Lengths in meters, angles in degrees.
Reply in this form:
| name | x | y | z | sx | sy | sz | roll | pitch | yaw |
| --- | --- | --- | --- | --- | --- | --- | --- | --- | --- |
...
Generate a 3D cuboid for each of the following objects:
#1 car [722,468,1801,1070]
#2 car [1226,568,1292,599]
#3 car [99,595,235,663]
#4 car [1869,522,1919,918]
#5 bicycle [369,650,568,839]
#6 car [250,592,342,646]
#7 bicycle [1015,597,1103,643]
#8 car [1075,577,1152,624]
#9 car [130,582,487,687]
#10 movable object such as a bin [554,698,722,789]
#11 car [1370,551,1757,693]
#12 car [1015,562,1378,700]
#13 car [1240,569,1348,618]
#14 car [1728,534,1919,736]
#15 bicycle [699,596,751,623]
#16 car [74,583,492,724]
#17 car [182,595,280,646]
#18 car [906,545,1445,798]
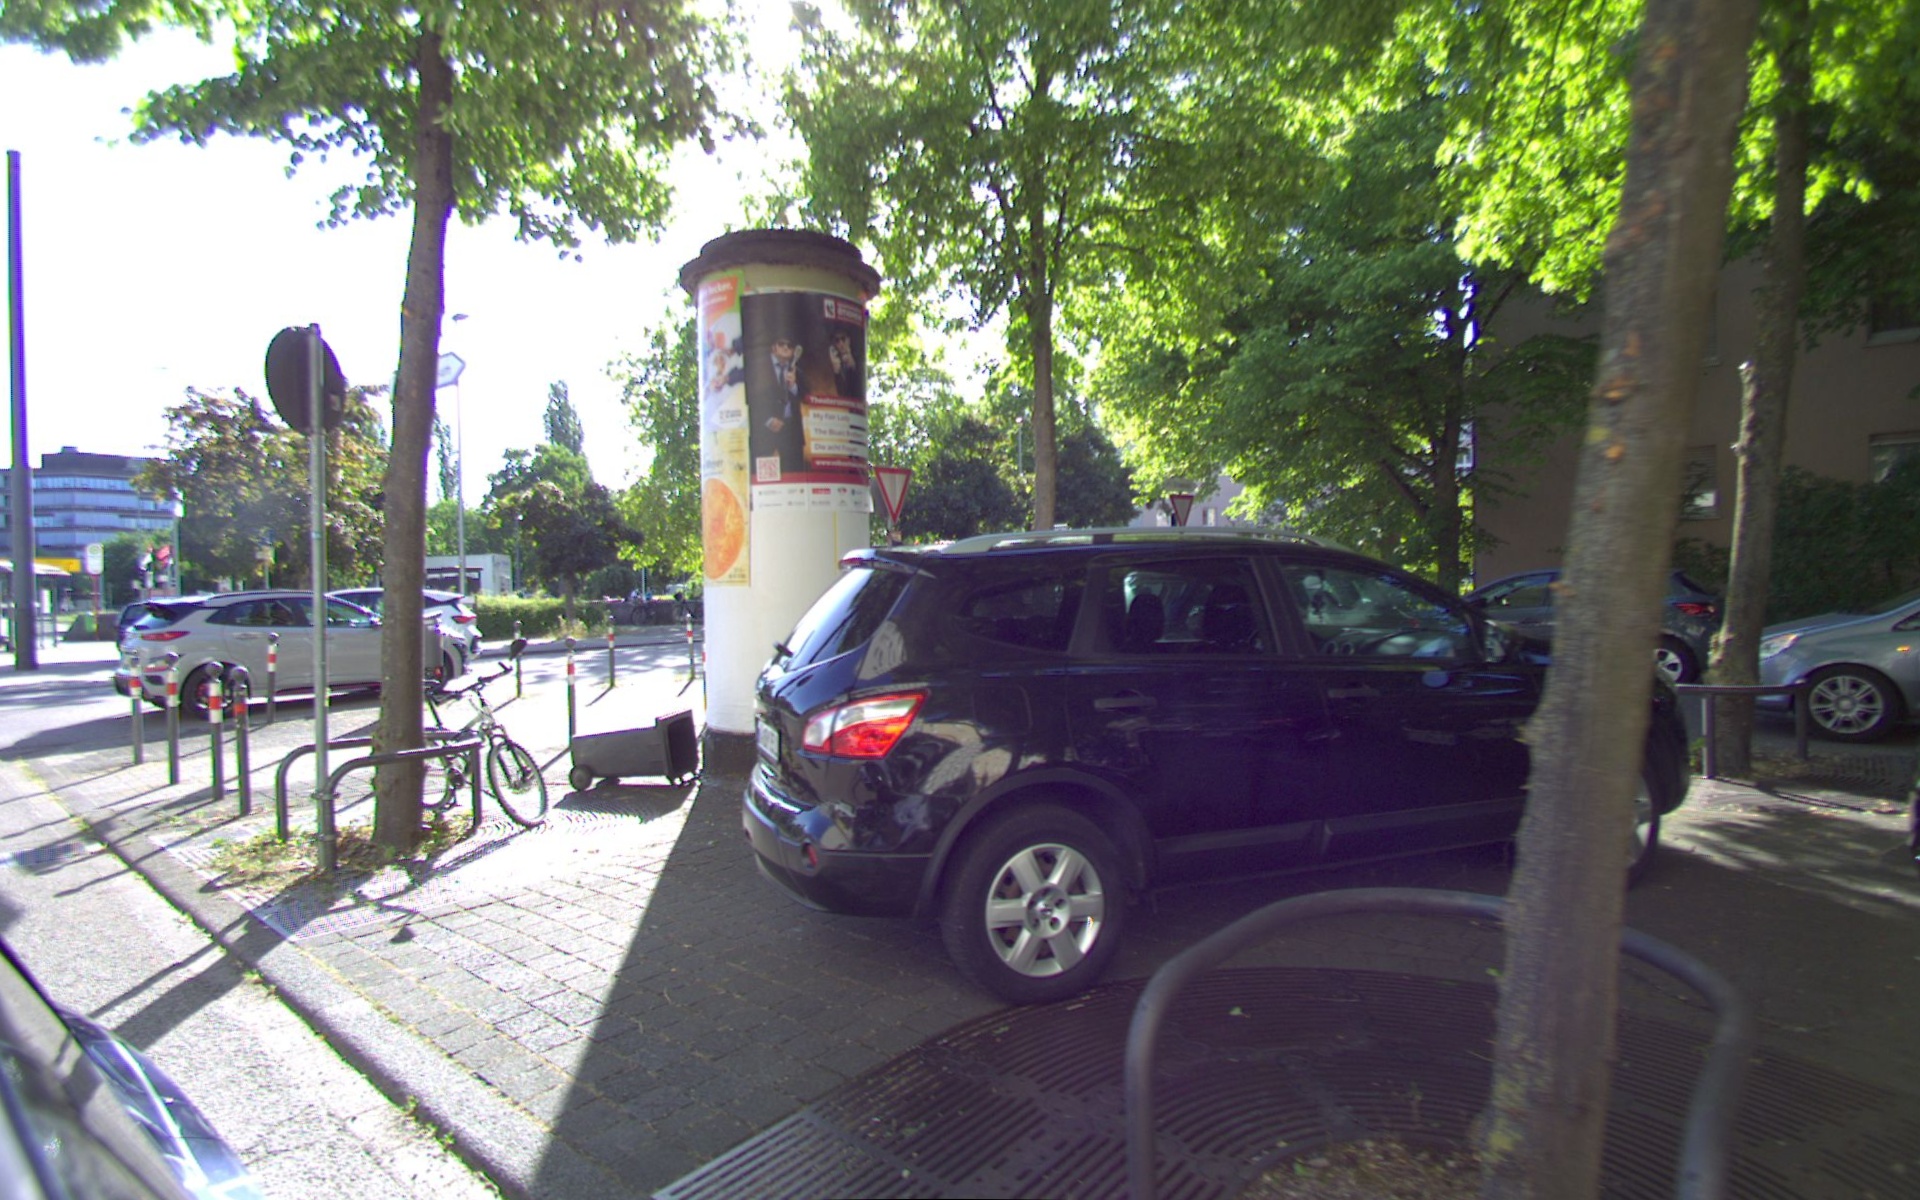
| name | x | y | z | sx | sy | sz | roll | pitch | yaw |
| --- | --- | --- | --- | --- | --- | --- | --- | --- | --- |
| car | 1.251 | 0.409 | 4.528 | 4.263 | 1.683 | 1.843 | -4 | 2 | -18 |
| car | 18.737 | -1.006 | 63.571 | 2.034 | 1.811 | 4.438 | -1 | 1 | -13 |
| car | -20.348 | 0.685 | 26.144 | 1.655 | 1.519 | 3.608 | -4 | 2 | -20 |
| car | 5.550 | 0.374 | 3.739 | 3.881 | 1.432 | 1.828 | -2 | 1 | -24 |
| bicycle | -3.224 | 0.888 | 6.587 | 1.587 | 1.080 | 0.350 | -1 | 1 | 32 |
| car | -21.650 | 0.574 | 33.153 | 1.769 | 1.591 | 4.013 | -1 | 1 | -22 |
| bicycle | 2.324 | 0.486 | 23.890 | 2.028 | 1.039 | 0.564 | -2 | 0 | 34 |
| car | 5.536 | -0.007 | 36.275 | 1.615 | 1.573 | 3.224 | -1 | 1 | 31 |
| car | -11.095 | 0.521 | 17.730 | 4.950 | 1.530 | 1.930 | -2 | 1 | -21 |
| movable object such as a bin | -2.460 | 1.076 | 7.739 | 1.106 | 0.569 | 0.573 | -1 | 1 | 22 |
| car | 7.511 | 0.222 | 12.802 | 3.948 | 1.522 | 1.735 | -1 | 1 | 42 |
| car | 2.999 | 0.338 | 13.405 | 4.300 | 1.530 | 1.882 | -1 | 1 | 42 |
| car | 10.795 | -0.210 | 32.904 | 3.229 | 1.492 | 1.612 | -1 | 1 | 17 |
| car | 8.330 | 0.221 | 7.635 | 3.940 | 1.497 | 1.739 | -1 | 1 | 35 |
| bicycle | -8.932 | 0.369 | 38.421 | 2.309 | 0.990 | 0.550 | -1 | 1 | 38 |
| car | -9.140 | 0.603 | 14.029 | 1.903 | 1.564 | 4.429 | -1 | 1 | 37 |
| car | -23.695 | 0.627 | 33.025 | 1.655 | 1.519 | 3.608 | -2 | 1 | -20 |
| car | 1.765 | 0.414 | 8.238 | 3.931 | 1.623 | 1.929 | -2 | 1 | -27 |
